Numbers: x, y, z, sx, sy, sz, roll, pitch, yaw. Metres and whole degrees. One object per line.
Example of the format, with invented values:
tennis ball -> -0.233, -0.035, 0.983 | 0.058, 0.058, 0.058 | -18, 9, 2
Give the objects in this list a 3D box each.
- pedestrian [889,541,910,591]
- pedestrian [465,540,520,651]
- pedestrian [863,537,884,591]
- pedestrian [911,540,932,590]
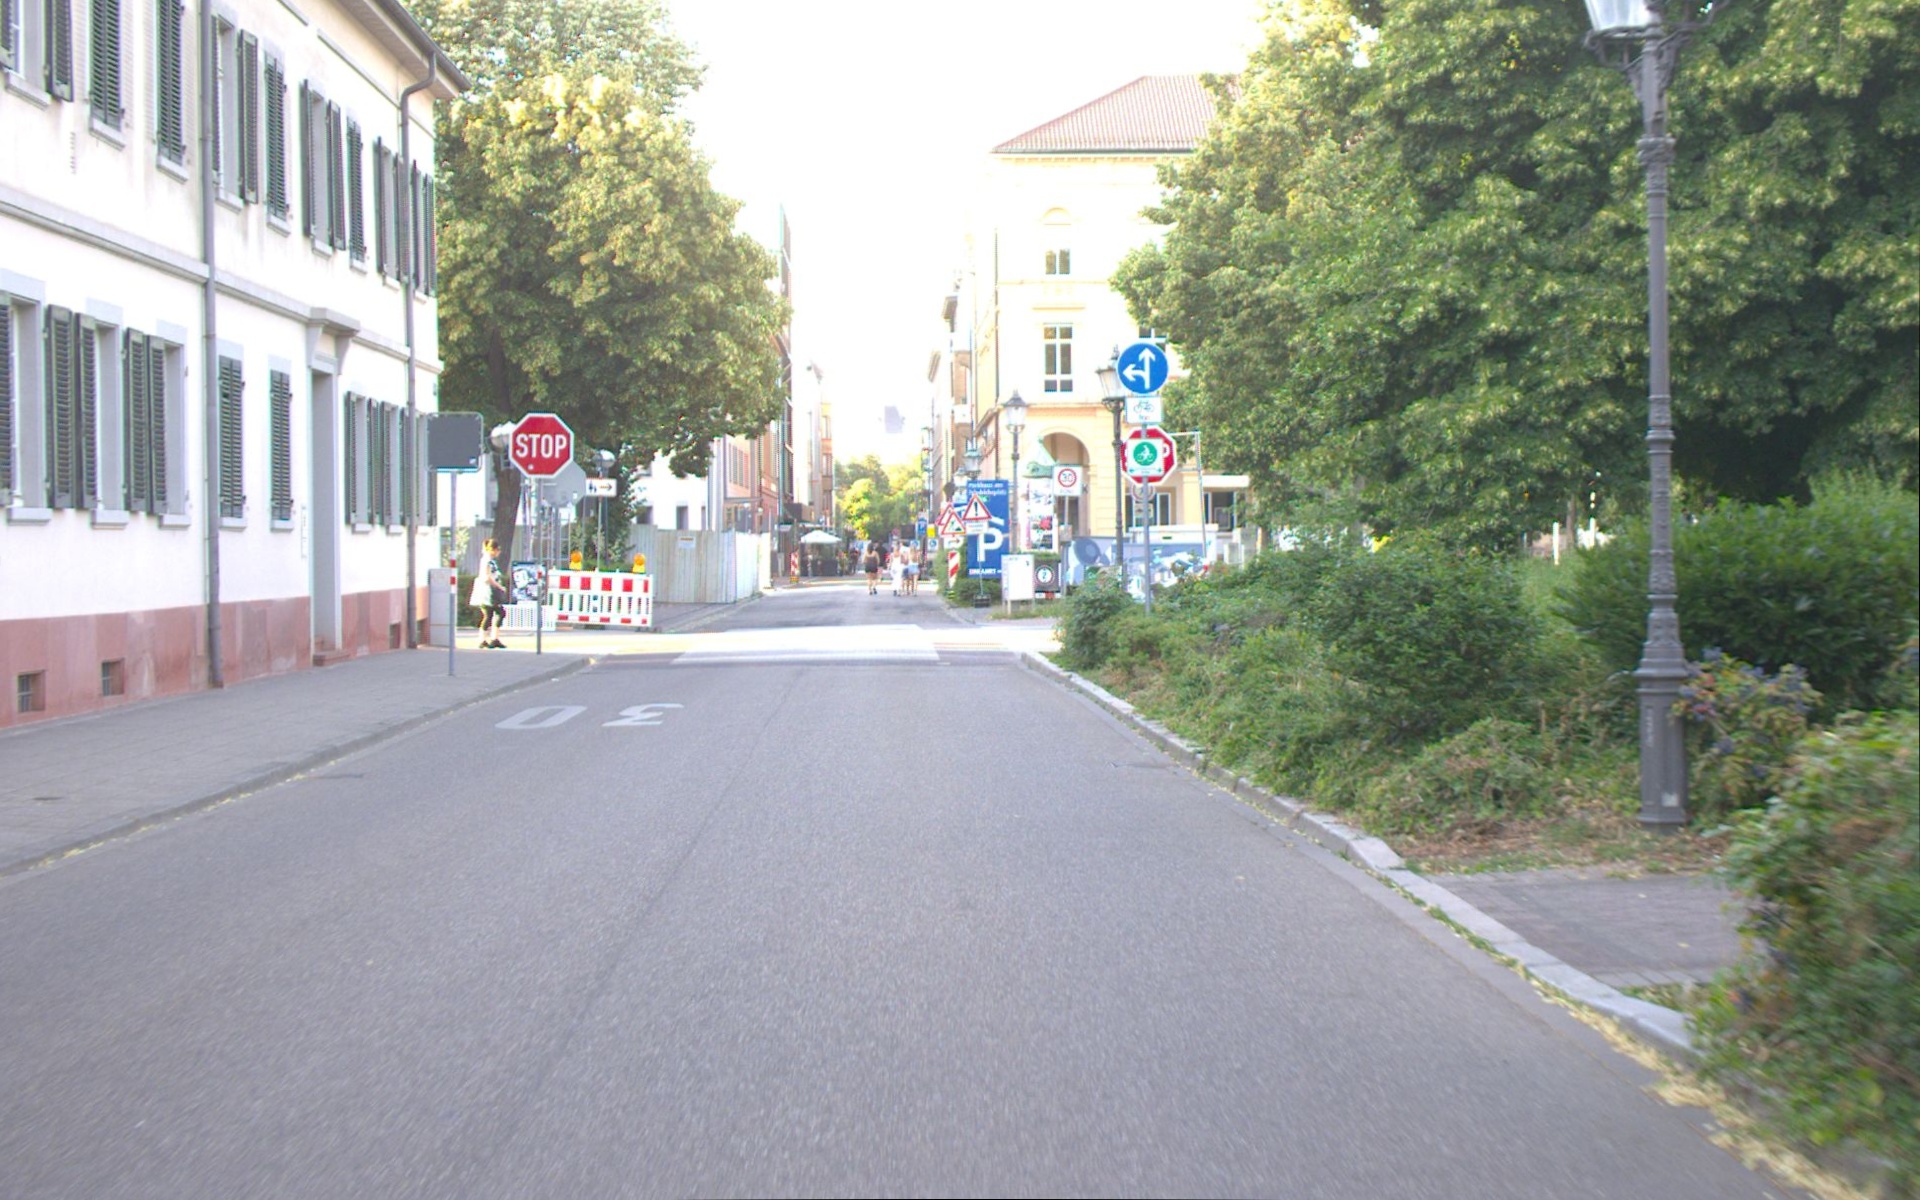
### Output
pedestrian -> -1.958, -1.097, 111.871 | 0.657, 1.611, 0.745 | -1, 1, -1
pedestrian -> -7.216, -0.075, 53.097 | 0.734, 1.683, 0.836 | -1, 1, -2
pedestrian -> -2.853, -1.184, 113.654 | 0.657, 1.754, 0.745 | -1, 1, 0
pedestrian -> -1.253, -1.146, 111.907 | 0.657, 1.611, 0.745 | -1, 1, -1
